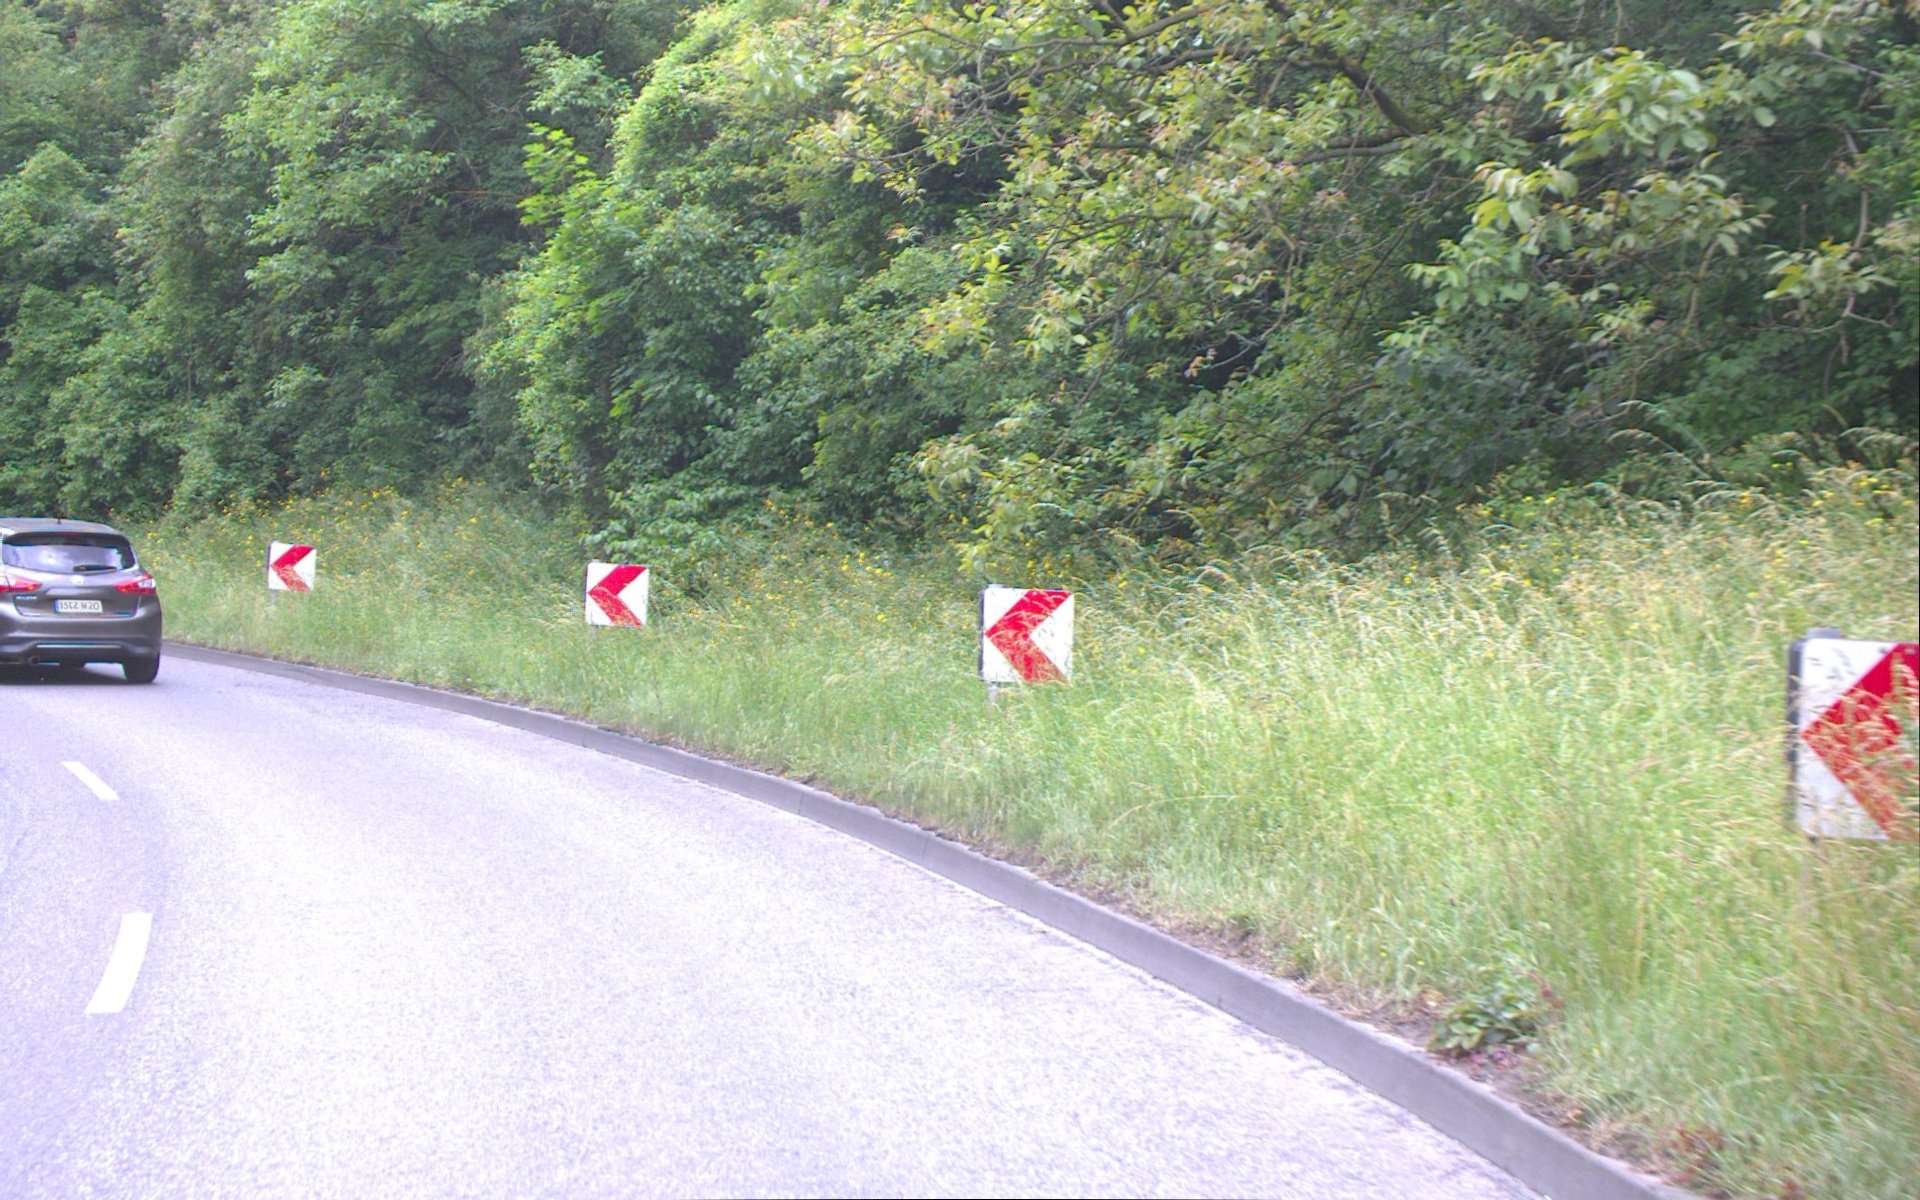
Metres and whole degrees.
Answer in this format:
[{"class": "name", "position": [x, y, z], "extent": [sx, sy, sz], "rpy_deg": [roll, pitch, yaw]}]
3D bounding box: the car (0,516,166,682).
[{"class": "car", "position": [-9.040, -0.060, 33.159], "extent": [1.839, 1.478, 4.001], "rpy_deg": [0, 2, -26]}]
